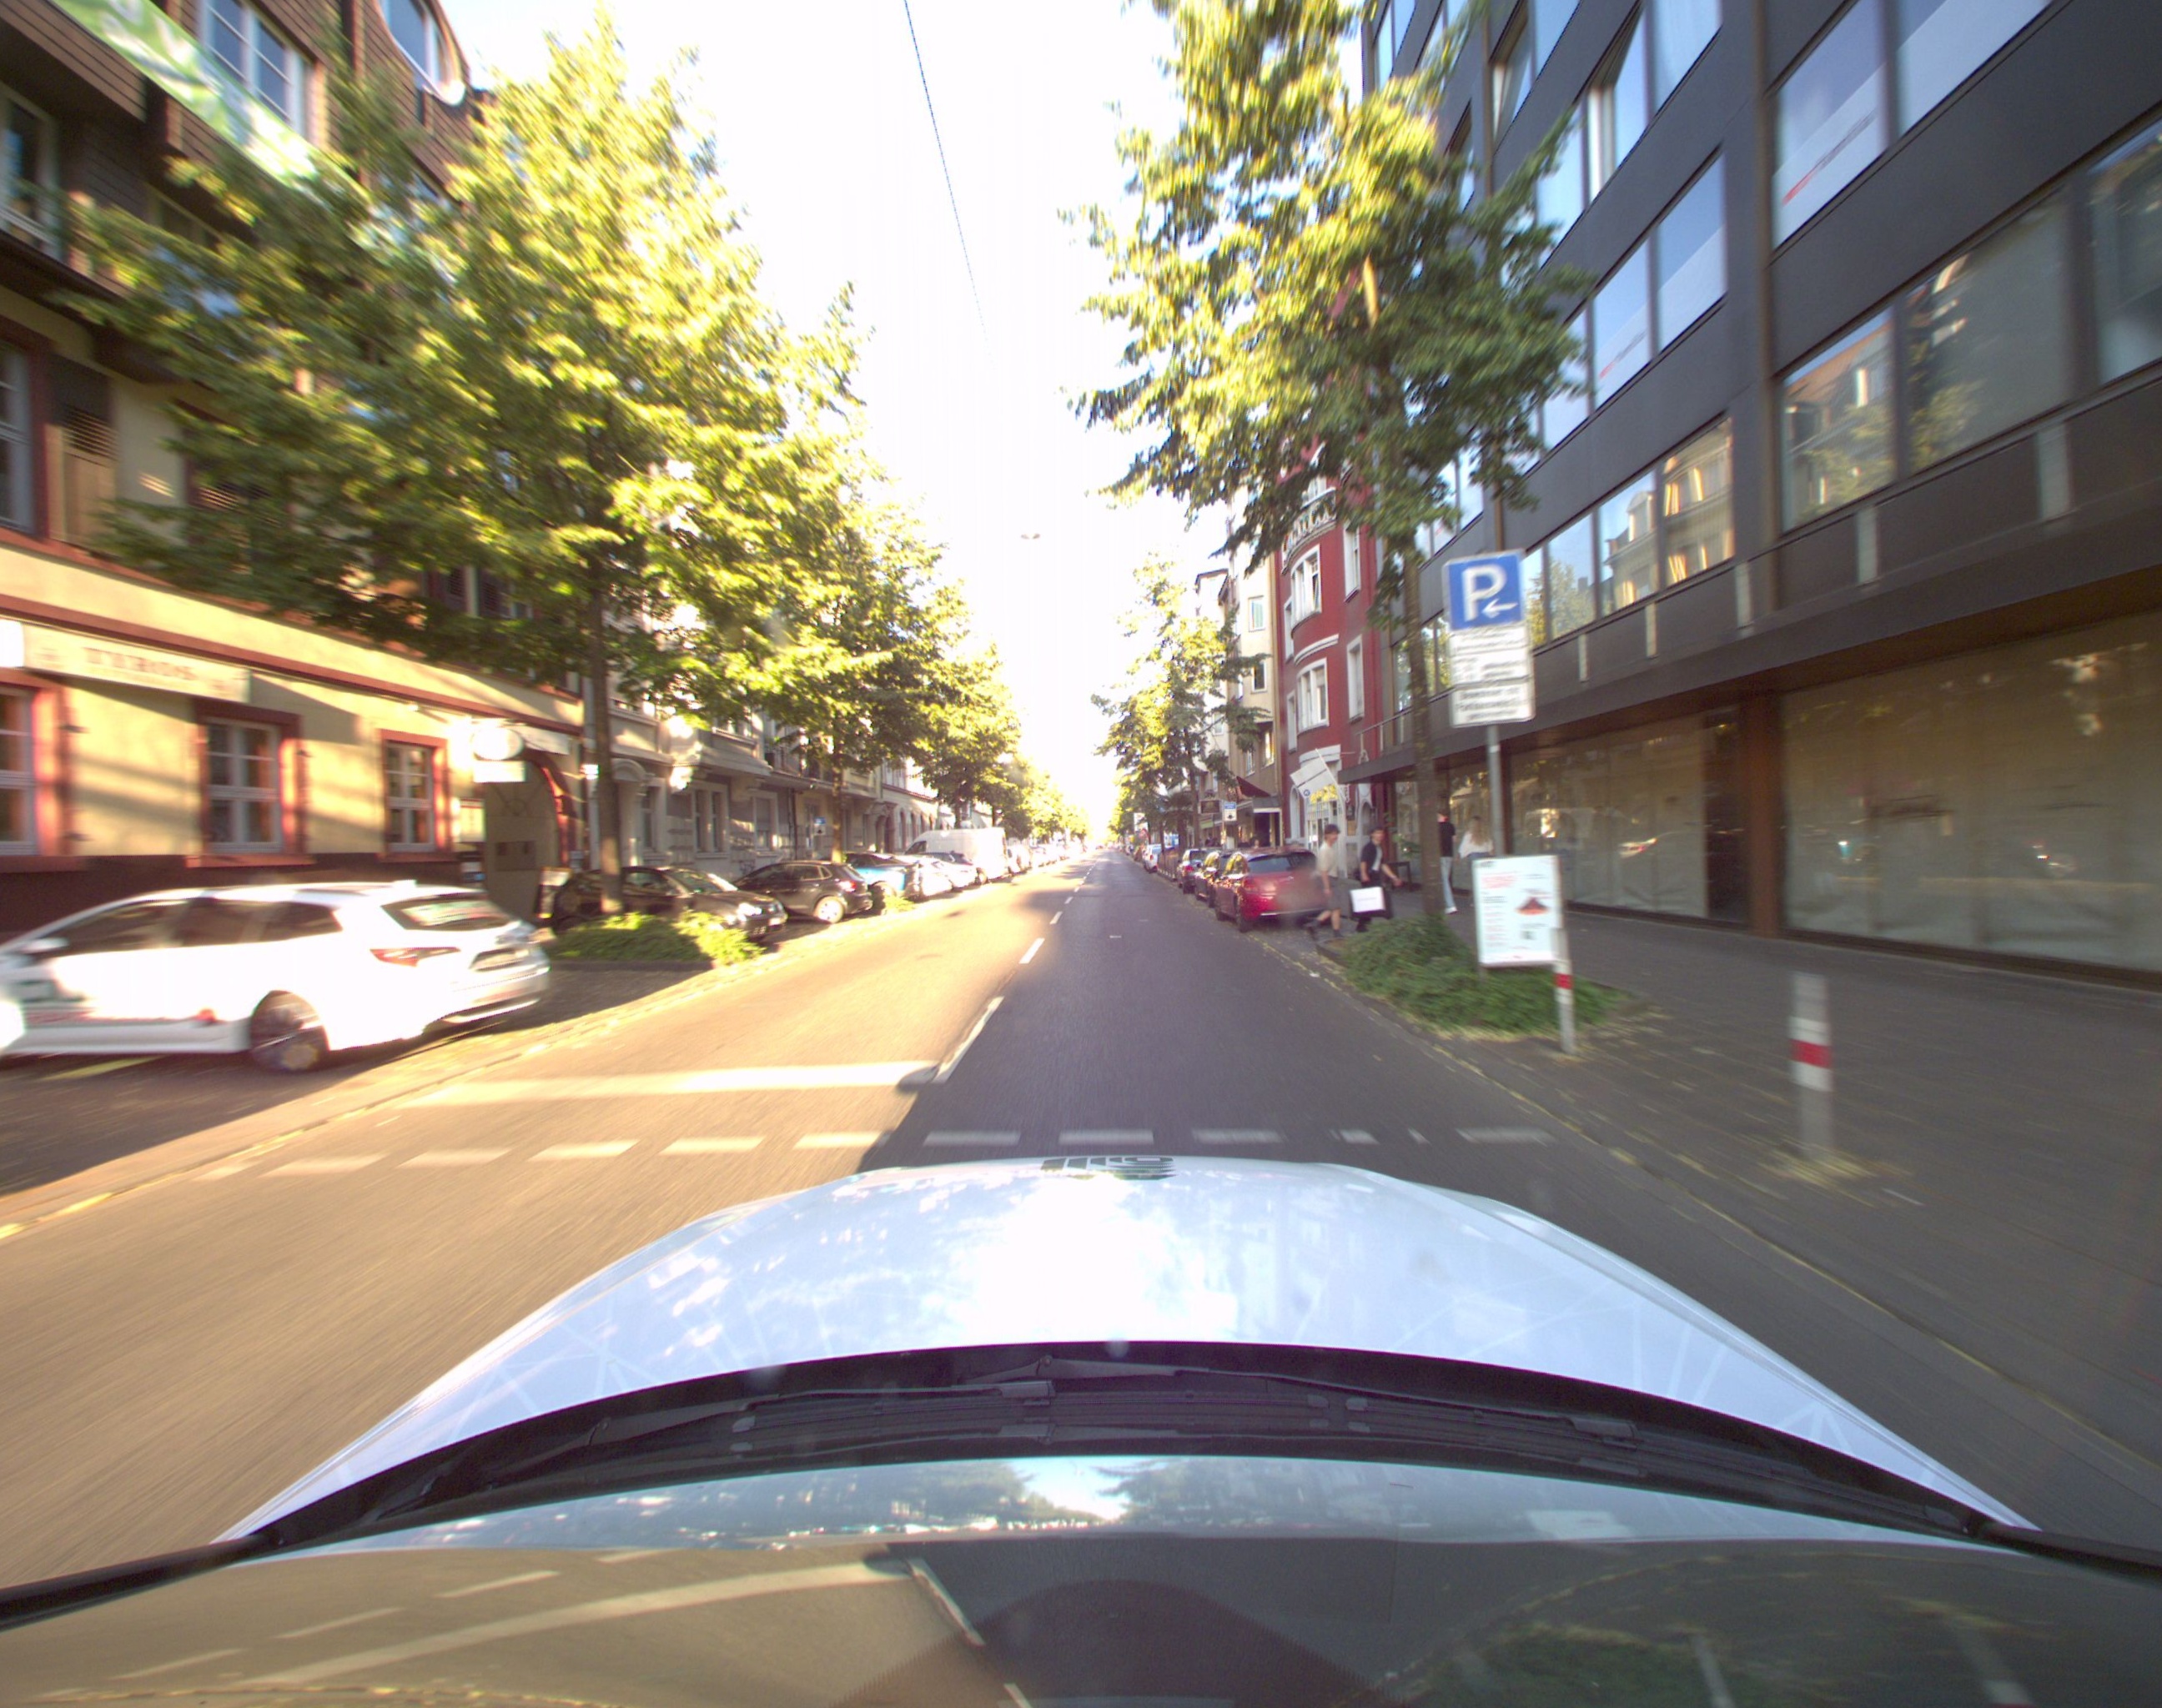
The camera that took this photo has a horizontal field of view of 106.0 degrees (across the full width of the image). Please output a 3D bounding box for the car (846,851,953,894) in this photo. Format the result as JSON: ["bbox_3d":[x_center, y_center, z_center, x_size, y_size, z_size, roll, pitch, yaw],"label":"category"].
[{"bbox_3d":[-6.658,0.674,30.097,3.391,1.510,1.849,0,0,5],"label":"car"}]

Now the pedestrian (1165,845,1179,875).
[{"bbox_3d":[4.437,0.291,39.745,0.575,1.384,0.603,-4,0,2],"label":"pedestrian"}]

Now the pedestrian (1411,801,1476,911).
[{"bbox_3d":[6.498,0.028,14.649,0.623,1.868,0.976,-5,0,2],"label":"pedestrian"}]

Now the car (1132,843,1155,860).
[{"bbox_3d":[6.092,-0.289,80.042,1.823,1.488,4.849,-4,0,0],"label":"car"}]

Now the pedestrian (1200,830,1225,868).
[{"bbox_3d":[6.681,-0.258,41.454,0.882,1.883,0.793,-4,2,-36],"label":"pedestrian"}]

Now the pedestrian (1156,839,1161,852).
[{"bbox_3d":[11.324,-1.200,118.584,0.460,1.875,0.499,-3,0,-13],"label":"pedestrian"}]

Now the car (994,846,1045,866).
[{"bbox_3d":[-5.018,0.178,66.638,4.046,1.461,1.685,-2,0,-1],"label":"car"}]

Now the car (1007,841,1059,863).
[{"bbox_3d":[-4.647,-0.197,79.359,4.852,1.908,1.974,-2,0,1],"label":"car"}]

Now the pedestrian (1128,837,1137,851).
[{"bbox_3d":[7.348,-1.419,116.264,1.013,1.825,0.778,-4,0,-8],"label":"pedestrian"}]

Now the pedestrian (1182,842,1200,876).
[{"bbox_3d":[4.908,0.216,36.349,0.629,1.485,0.795,-4,0,2],"label":"pedestrian"}]

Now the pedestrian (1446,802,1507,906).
[{"bbox_3d":[7.175,-0.001,14.808,0.587,1.809,0.836,-5,0,2],"label":"pedestrian"}]

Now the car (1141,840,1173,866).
[{"bbox_3d":[5.177,-0.087,56.017,1.872,1.574,4.695,-4,0,2],"label":"car"}]

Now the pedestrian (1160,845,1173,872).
[{"bbox_3d":[4.347,0.214,41.444,0.575,1.319,0.704,-4,0,2],"label":"pedestrian"}]

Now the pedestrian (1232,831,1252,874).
[{"bbox_3d":[6.457,-0.058,32.738,0.622,1.677,0.641,-3,0,2],"label":"pedestrian"}]

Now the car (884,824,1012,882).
[{"bbox_3d":[-6.225,-0.049,38.667,5.637,2.621,2.172,-1,0,1],"label":"car"}]

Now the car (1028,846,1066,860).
[{"bbox_3d":[-3.851,-0.094,92.705,4.317,1.501,1.840,-1,0,-4],"label":"car"}]

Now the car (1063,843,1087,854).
[{"bbox_3d":[-1.095,-1.090,159.728,4.555,1.961,1.991,-1,0,1],"label":"car"}]

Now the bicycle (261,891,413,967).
[{"bbox_3d":[-11.370,1.109,12.527,0.617,0.989,1.736,0,1,6],"label":"bicycle"}]

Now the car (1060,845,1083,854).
[{"bbox_3d":[-1.852,-0.904,162.460,4.553,1.697,2.061,-1,0,2],"label":"car"}]

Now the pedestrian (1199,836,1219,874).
[{"bbox_3d":[5.721,0.038,36.348,0.705,1.598,0.795,-4,0,2],"label":"pedestrian"}]

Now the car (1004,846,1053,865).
[{"bbox_3d":[-4.580,0.146,71.567,4.023,1.483,1.964,-2,0,1],"label":"car"}]

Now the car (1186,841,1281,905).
[{"bbox_3d":[4.074,0.458,22.397,1.768,1.470,4.419,-4,0,1],"label":"car"}]

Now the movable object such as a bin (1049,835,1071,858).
[{"bbox_3d":[-2.903,-1.053,113.238,2.615,2.969,5.305,-2,0,2],"label":"movable object such as a bin"}]

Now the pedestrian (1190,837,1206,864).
[{"bbox_3d":[8.115,-0.230,56.341,0.853,1.794,0.996,-3,0,-2],"label":"pedestrian"}]

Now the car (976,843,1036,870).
[{"bbox_3d":[-5.470,0.146,59.656,4.120,1.806,1.808,-2,0,3],"label":"car"}]

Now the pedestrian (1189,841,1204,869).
[{"bbox_3d":[5.842,0.060,41.268,0.575,1.384,0.603,-4,0,2],"label":"pedestrian"}]

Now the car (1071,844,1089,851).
[{"bbox_3d":[-0.218,-1.619,207.926,4.425,1.759,1.920,-1,0,2],"label":"car"}]

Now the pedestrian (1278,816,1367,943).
[{"bbox_3d":[3.644,0.376,12.334,0.733,1.785,0.863,-6,0,-24],"label":"pedestrian"}]

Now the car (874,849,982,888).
[{"bbox_3d":[-6.542,0.587,35.207,4.196,1.600,1.977,-1,0,2],"label":"car"}]

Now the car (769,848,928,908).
[{"bbox_3d":[-6.856,0.682,24.372,4.220,1.650,1.892,-1,0,-3],"label":"car"}]

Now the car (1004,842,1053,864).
[{"bbox_3d":[-4.900,-0.078,76.687,4.411,1.870,1.895,-2,0,2],"label":"car"}]

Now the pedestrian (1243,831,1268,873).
[{"bbox_3d":[8.209,-0.094,38.336,0.791,1.883,0.883,-2,2,33],"label":"pedestrian"}]

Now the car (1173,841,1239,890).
[{"bbox_3d":[4.278,0.349,28.561,1.767,1.440,5.005,-4,0,4],"label":"car"}]

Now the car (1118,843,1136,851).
[{"bbox_3d":[10.017,-1.560,177.920,1.654,1.588,3.846,-1,0,44],"label":"car"}]

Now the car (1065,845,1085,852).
[{"bbox_3d":[-1.397,-1.205,183.915,4.425,1.568,1.920,-1,0,2],"label":"car"}]

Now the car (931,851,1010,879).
[{"bbox_3d":[-5.917,0.583,44.011,3.974,1.404,1.750,-1,-1,0],"label":"car"}]

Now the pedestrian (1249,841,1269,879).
[{"bbox_3d":[7.199,0.249,32.997,0.622,1.488,0.641,-3,0,2],"label":"pedestrian"}]

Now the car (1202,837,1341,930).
[{"bbox_3d":[3.650,0.489,16.484,1.716,1.492,4.754,-4,0,1],"label":"car"}]

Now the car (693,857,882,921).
[{"bbox_3d":[-6.927,0.807,19.501,3.904,1.448,1.696,0,0,-1],"label":"car"}]

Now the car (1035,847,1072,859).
[{"bbox_3d":[-3.573,-0.180,105.288,4.573,1.470,1.895,0,1,4],"label":"car"}]

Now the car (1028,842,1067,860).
[{"bbox_3d":[-3.990,-0.365,96.857,4.466,1.976,2.070,-1,0,2],"label":"car"}]

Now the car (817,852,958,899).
[{"bbox_3d":[-6.380,0.687,27.184,4.171,1.482,1.970,-1,1,0],"label":"car"}]

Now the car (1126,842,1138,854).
[{"bbox_3d":[7.571,-0.923,121.443,1.680,1.575,4.015,-4,0,2],"label":"car"}]

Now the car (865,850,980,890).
[{"bbox_3d":[-6.286,0.619,32.614,4.197,1.506,1.793,-1,0,1],"label":"car"}]

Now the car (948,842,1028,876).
[{"bbox_3d":[-5.601,0.291,49.286,4.480,1.953,1.921,-1,0,3],"label":"car"}]

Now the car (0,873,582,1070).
[{"bbox_3d":[-7.150,0.928,7.161,4.366,1.423,1.823,-1,0,1],"label":"car"}]

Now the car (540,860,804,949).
[{"bbox_3d":[-7.156,0.852,14.502,3.768,1.448,1.791,0,1,3],"label":"car"}]

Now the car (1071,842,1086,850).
[{"bbox_3d":[-0.683,-2.403,245.415,4.425,2.435,1.920,-1,0,2],"label":"car"}]

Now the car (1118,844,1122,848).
[{"bbox_3d":[12.335,-2.477,257.378,1.507,1.276,3.306,-1,0,3],"label":"car"}]

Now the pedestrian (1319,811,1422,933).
[{"bbox_3d":[4.581,0.279,12.913,1.051,1.785,0.937,-5,0,-24],"label":"pedestrian"}]

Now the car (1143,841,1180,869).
[{"bbox_3d":[4.818,0.024,49.305,1.835,1.480,5.192,-4,0,2],"label":"car"}]
